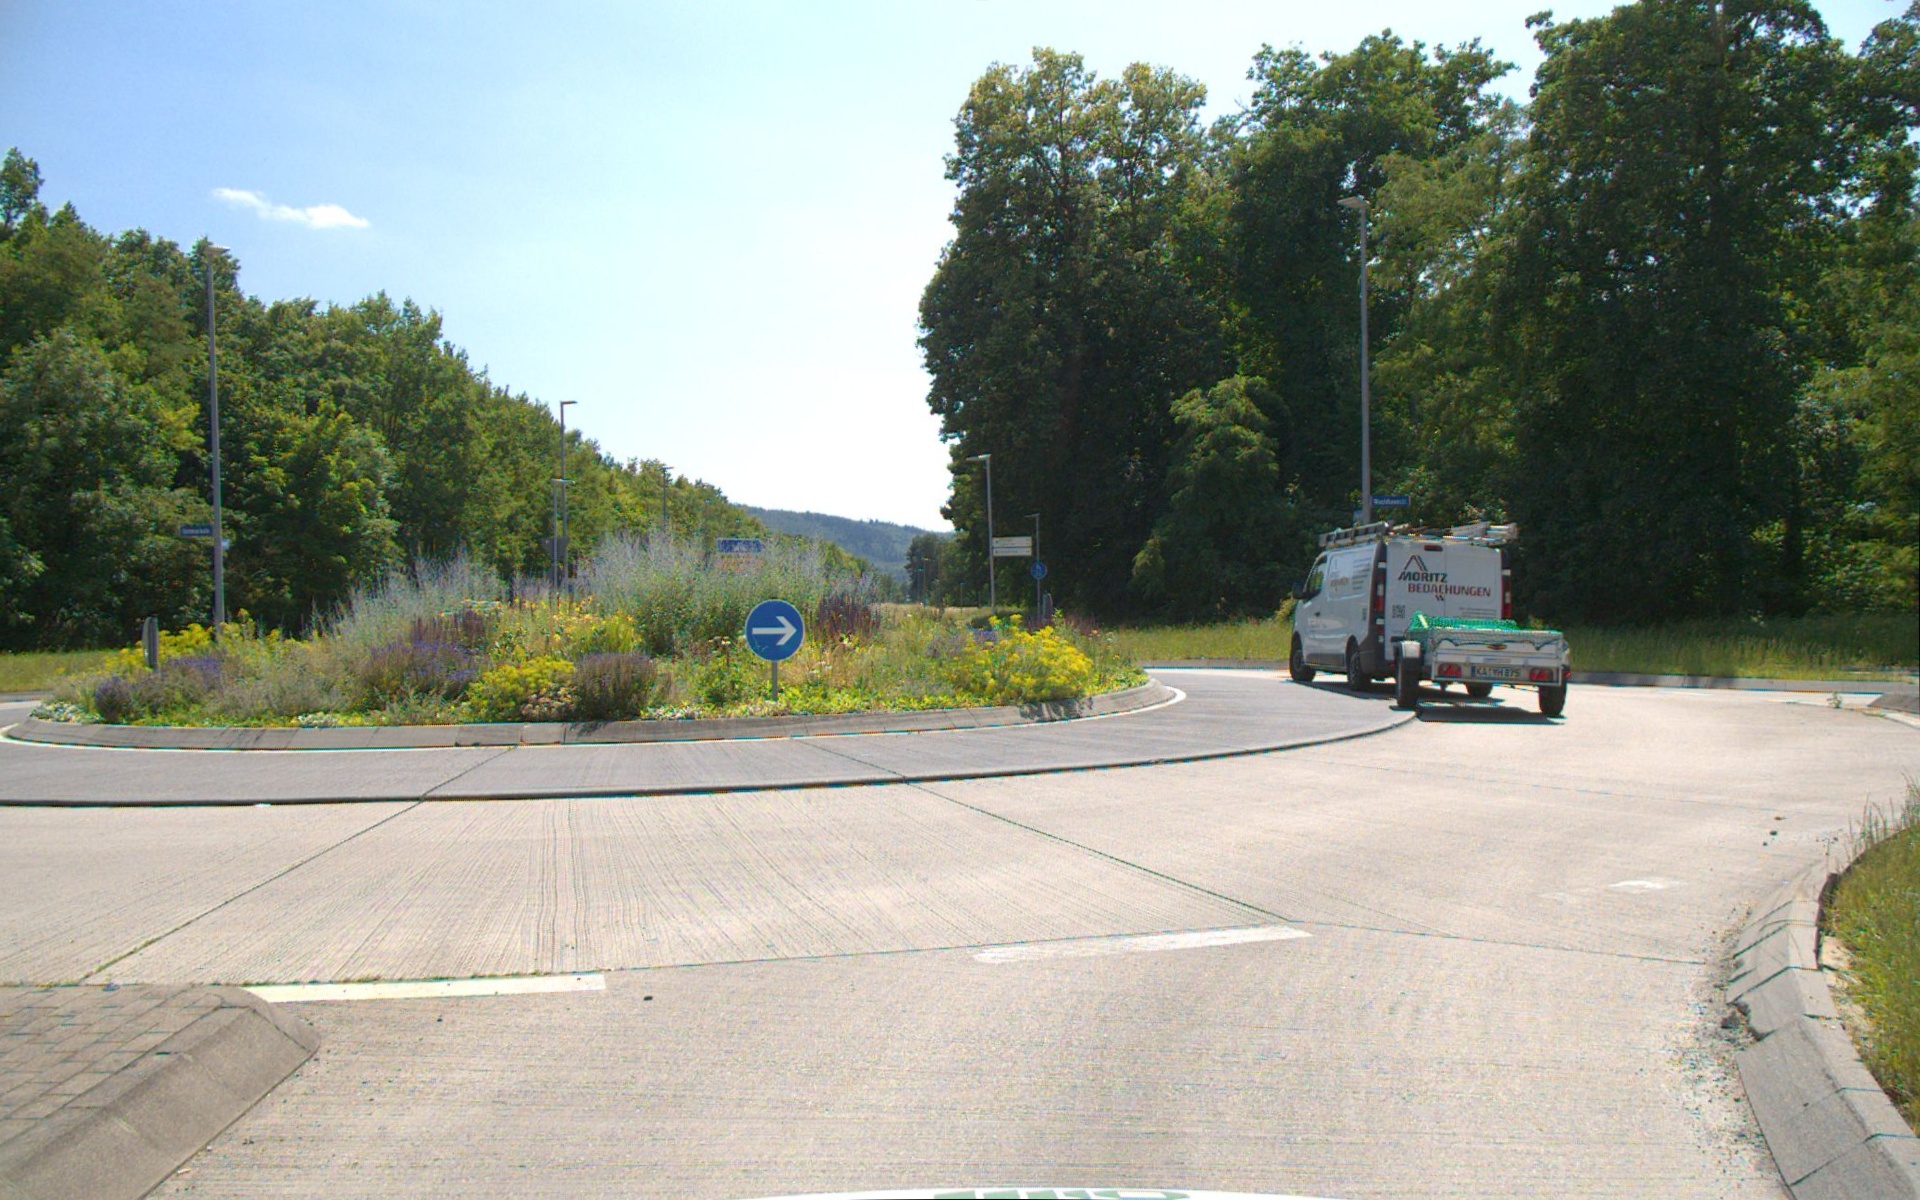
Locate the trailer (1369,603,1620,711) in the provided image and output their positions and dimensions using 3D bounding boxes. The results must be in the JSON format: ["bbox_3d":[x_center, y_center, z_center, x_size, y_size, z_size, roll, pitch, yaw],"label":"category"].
[{"bbox_3d":[5.948,0.602,18.835,2.076,1.116,3.357,0,0,6],"label":"trailer"}]

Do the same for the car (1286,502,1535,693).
[{"bbox_3d":[6.063,-0.015,22.934,2.121,2.357,4.981,0,0,0],"label":"car"}]
